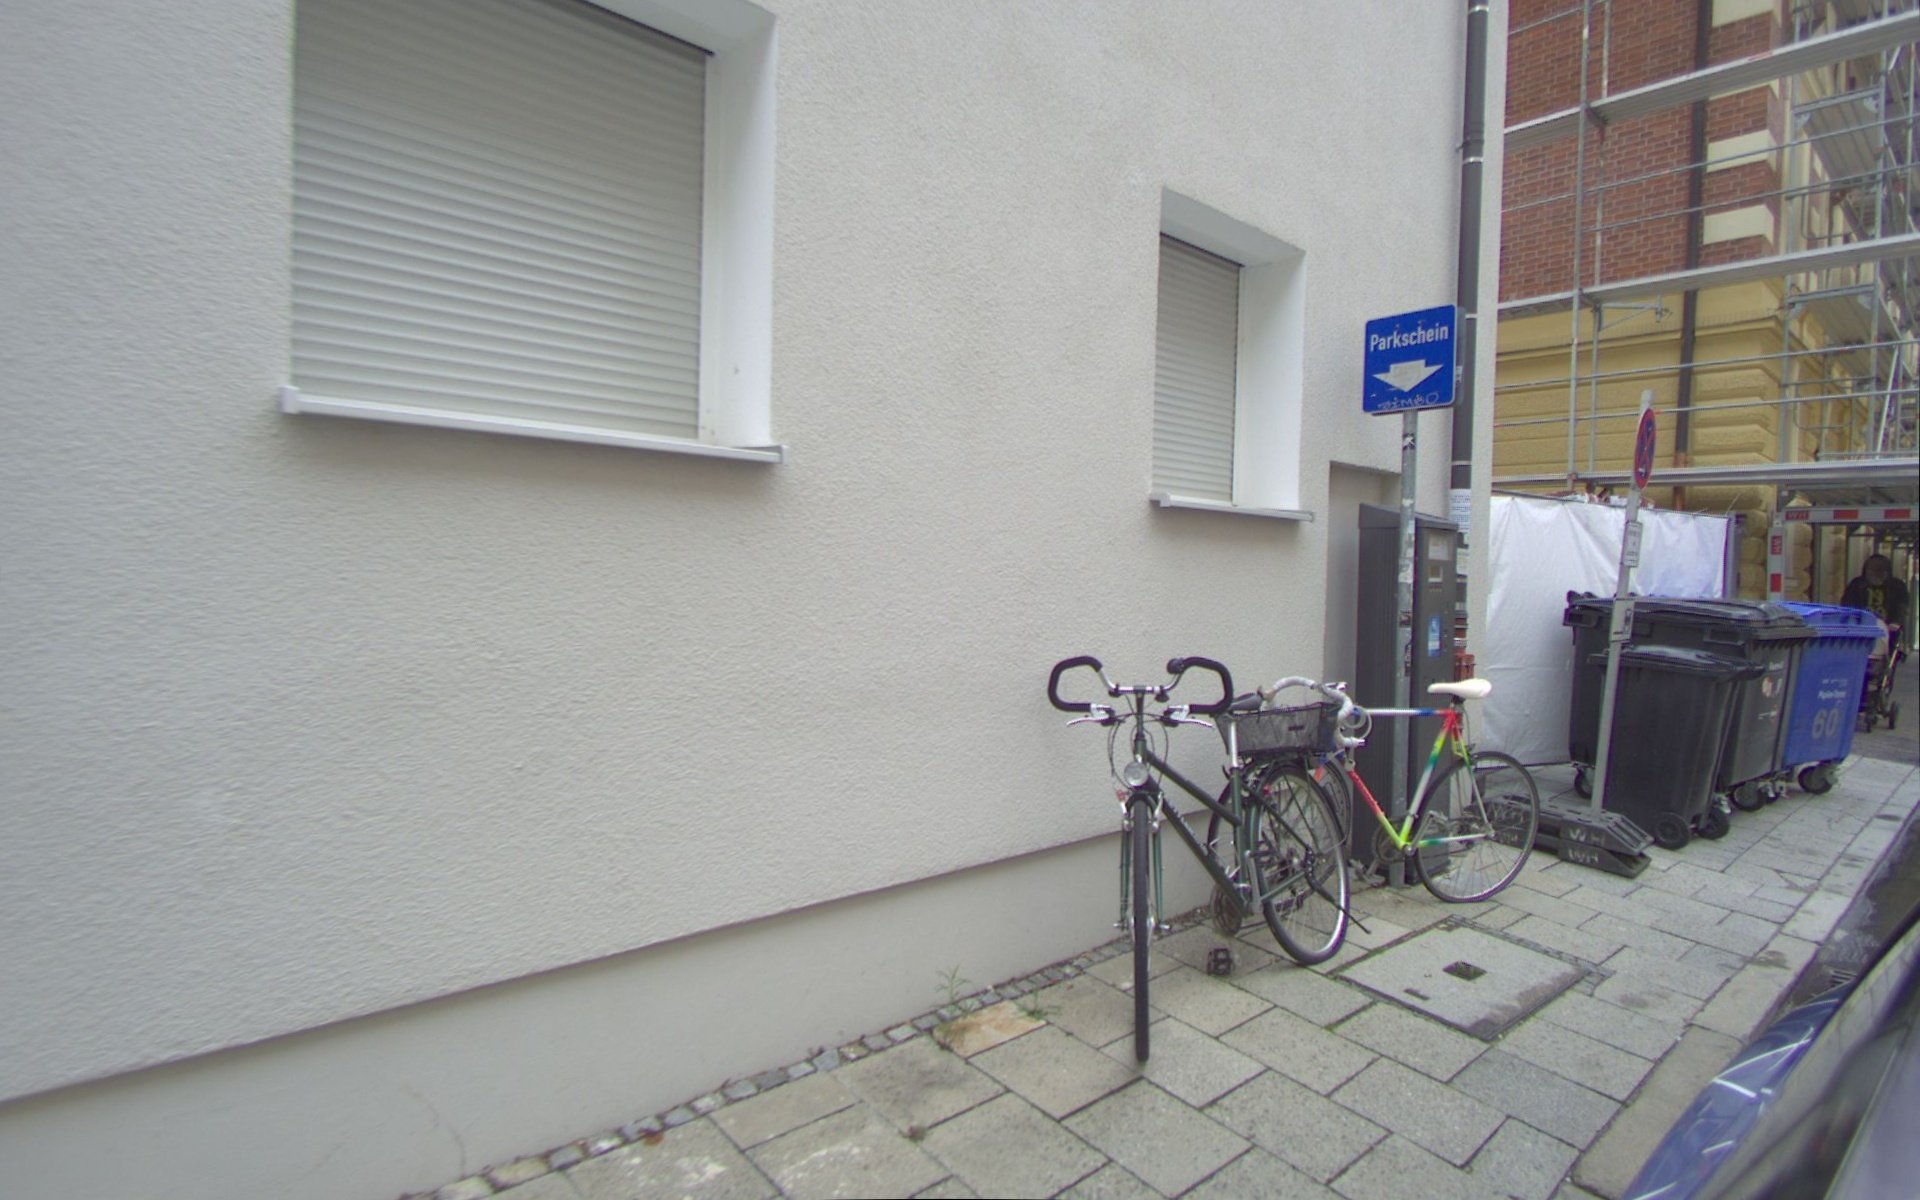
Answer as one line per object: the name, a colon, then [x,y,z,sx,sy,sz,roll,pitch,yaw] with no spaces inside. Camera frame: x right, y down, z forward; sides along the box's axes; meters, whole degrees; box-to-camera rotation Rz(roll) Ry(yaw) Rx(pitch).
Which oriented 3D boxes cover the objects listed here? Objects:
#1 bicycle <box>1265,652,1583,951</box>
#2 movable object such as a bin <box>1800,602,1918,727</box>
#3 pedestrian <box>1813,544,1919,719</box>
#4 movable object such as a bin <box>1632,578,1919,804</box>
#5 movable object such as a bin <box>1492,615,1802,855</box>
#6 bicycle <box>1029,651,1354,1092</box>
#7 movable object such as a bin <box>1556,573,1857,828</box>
bicycle: [1.855,0.730,3.985,1.404,1.003,0.282,1,4,-29]
movable object such as a bin: [9.426,0.641,10.608,0.971,1.154,0.731,0,6,-43]
pedestrian: [9.962,0.313,11.045,0.971,1.773,0.731,0,6,-43]
movable object such as a bin: [5.783,0.582,7.214,1.291,1.362,1.092,1,4,-29]
movable object such as a bin: [3.981,0.710,5.940,0.774,1.108,1.217,1,5,-34]
bicycle: [0.789,0.726,3.202,0.403,1.003,1.310,6,5,39]
movable object such as a bin: [4.778,0.567,6.517,1.148,1.361,1.131,1,5,-34]
